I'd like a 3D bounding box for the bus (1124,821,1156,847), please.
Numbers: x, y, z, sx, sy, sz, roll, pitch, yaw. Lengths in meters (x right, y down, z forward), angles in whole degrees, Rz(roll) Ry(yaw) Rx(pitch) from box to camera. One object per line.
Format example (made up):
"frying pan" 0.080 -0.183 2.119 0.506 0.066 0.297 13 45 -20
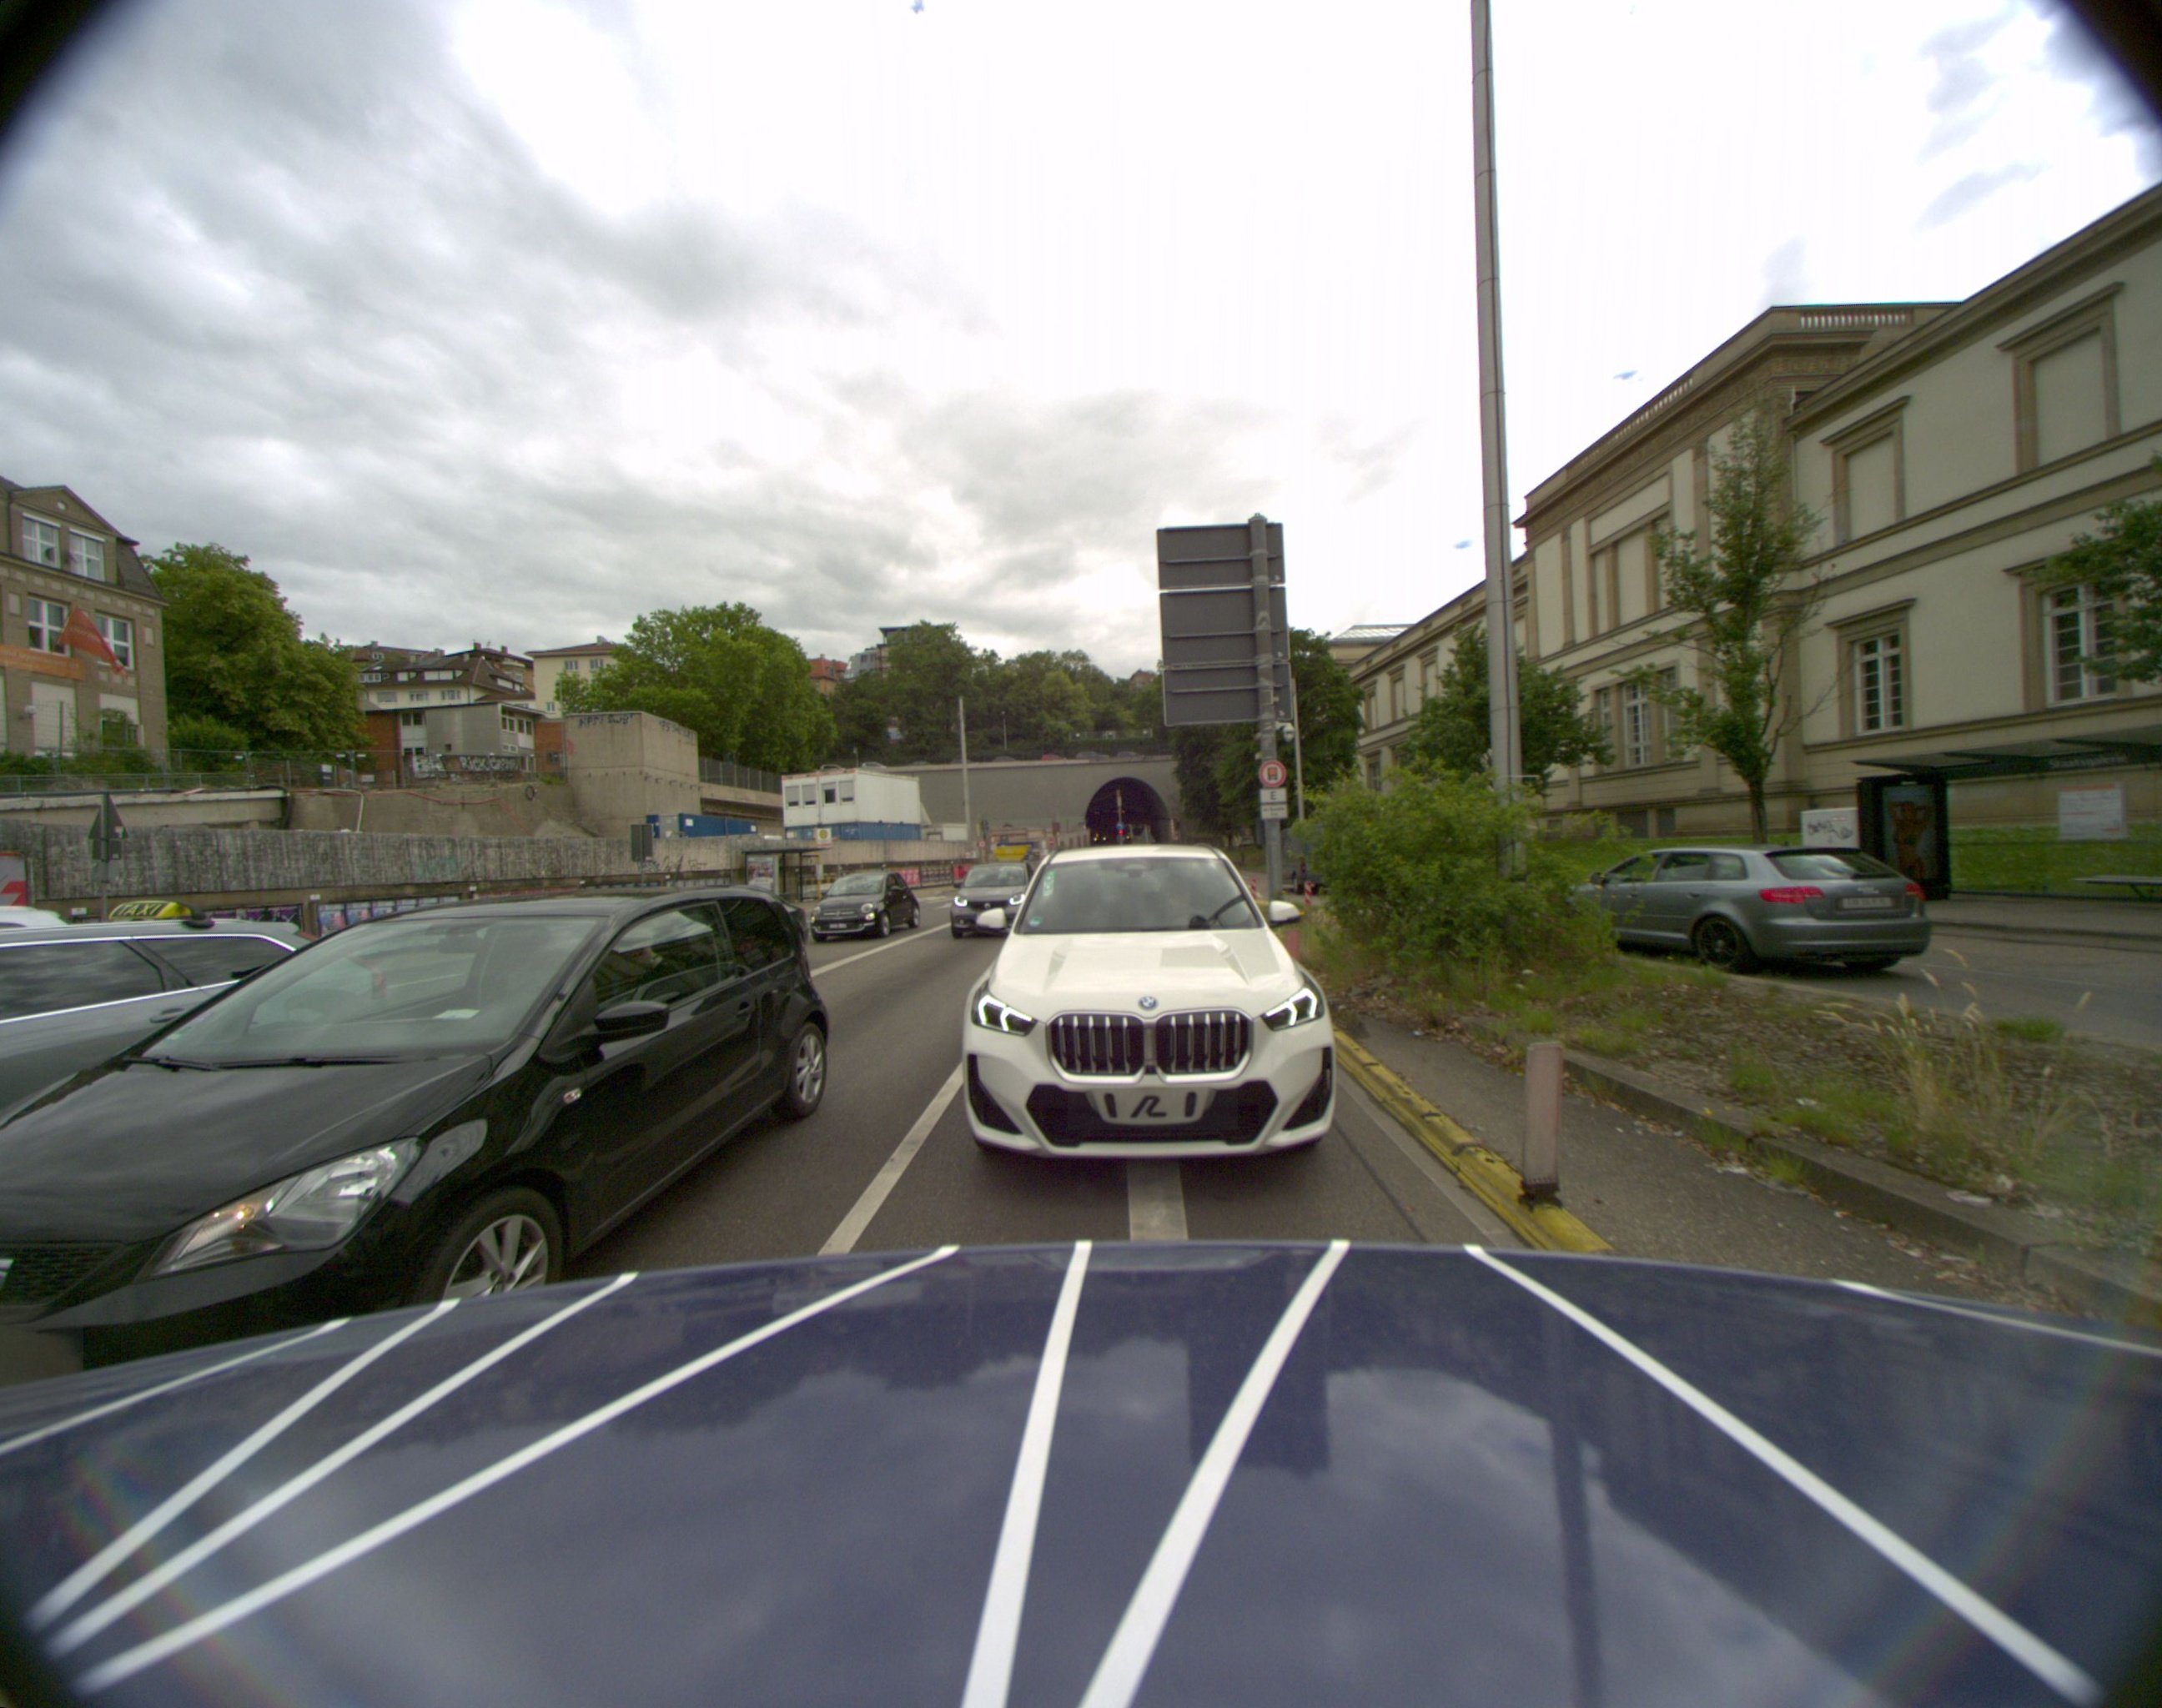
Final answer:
"bus" 7.661 -2.598 100.499 3.171 3.129 9.118 -2 1 -1

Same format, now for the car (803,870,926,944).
"car" -4.919 1.159 17.814 1.680 1.358 3.806 -2 1 1

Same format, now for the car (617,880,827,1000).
"car" -5.371 1.218 11.826 1.665 1.423 3.155 -2 1 1

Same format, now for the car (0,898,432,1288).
"car" -5.857 1.204 3.305 1.829 1.615 4.808 -2 1 1

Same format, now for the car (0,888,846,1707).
"car" -2.572 1.014 3.344 1.829 1.450 3.700 -2 1 1

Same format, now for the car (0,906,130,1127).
"car" -9.107 1.315 4.446 1.680 1.615 4.209 -2 1 1

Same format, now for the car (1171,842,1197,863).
"car" 8.973 -0.126 66.340 1.946 1.714 4.000 -2 1 4

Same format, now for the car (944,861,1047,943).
"car" -1.782 0.977 16.894 1.720 1.535 3.575 -2 0 2

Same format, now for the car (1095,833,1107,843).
"car" 3.208 -2.523 120.947 1.680 1.450 3.807 -2 1 3

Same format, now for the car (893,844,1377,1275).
"car" 0.263 0.860 5.037 1.987 1.616 3.668 -2 3 1

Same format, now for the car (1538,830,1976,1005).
"car" 7.652 0.585 9.190 1.779 1.609 3.802 -2 1 -3

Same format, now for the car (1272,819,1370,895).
"car" 8.649 0.118 27.900 2.203 2.493 4.759 -2 0 2
